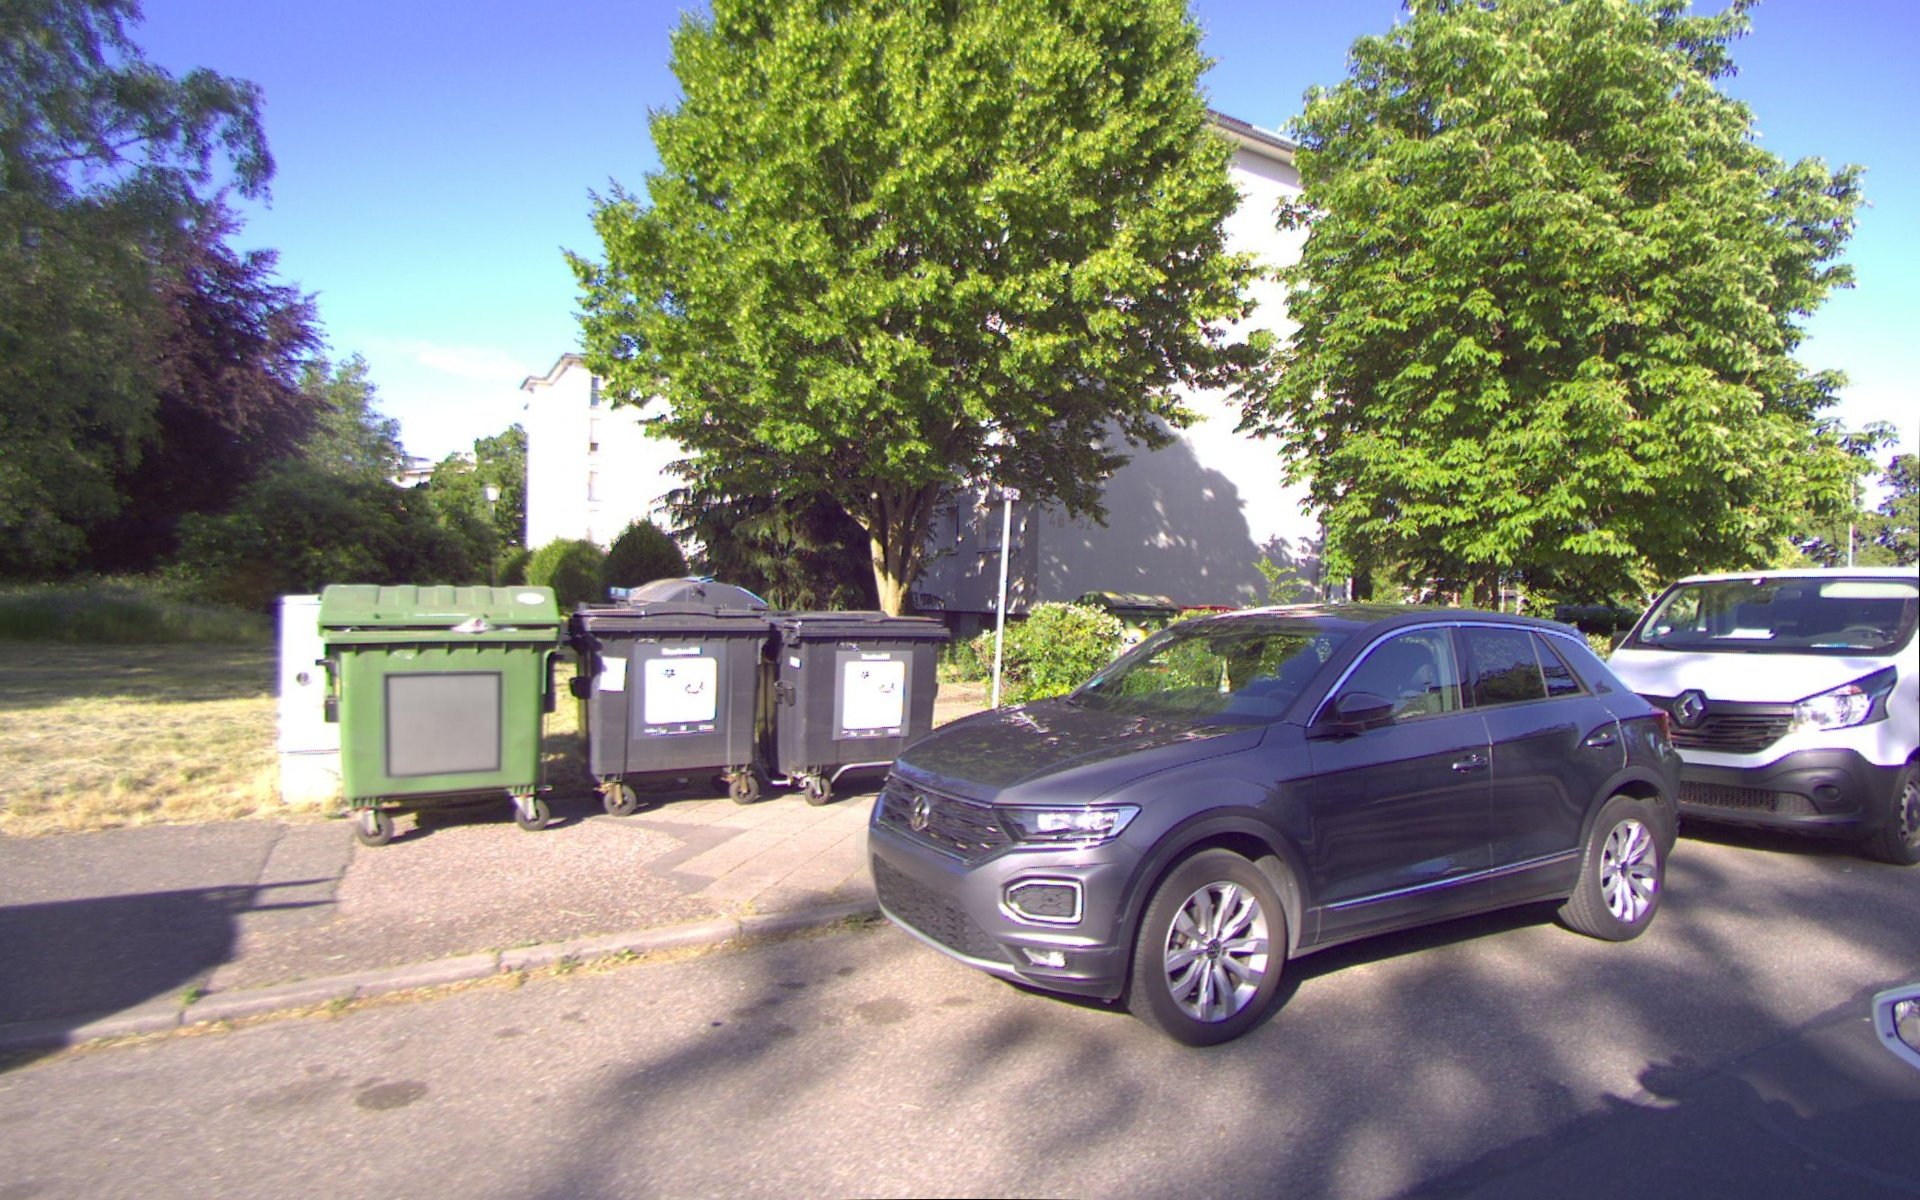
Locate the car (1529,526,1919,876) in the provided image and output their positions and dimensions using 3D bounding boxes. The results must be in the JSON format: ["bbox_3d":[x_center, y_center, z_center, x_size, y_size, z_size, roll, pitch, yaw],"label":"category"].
[{"bbox_3d":[6.817,0.626,7.823,5.028,1.988,1.905,1,-1,-30],"label":"car"}]

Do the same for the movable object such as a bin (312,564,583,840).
[{"bbox_3d":[-3.118,0.543,6.147,1.345,1.440,1.096,1,3,-30],"label":"movable object such as a bin"}]

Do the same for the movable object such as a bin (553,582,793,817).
[{"bbox_3d":[-1.994,0.612,6.916,1.345,1.390,1.096,1,3,-30],"label":"movable object such as a bin"}]

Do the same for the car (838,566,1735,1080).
[{"bbox_3d":[1.650,0.719,4.790,4.087,1.554,1.739,1,-1,-28],"label":"car"}]

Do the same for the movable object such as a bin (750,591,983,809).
[{"bbox_3d":[-0.708,0.668,7.398,1.345,1.375,1.096,1,3,-30],"label":"movable object such as a bin"}]
